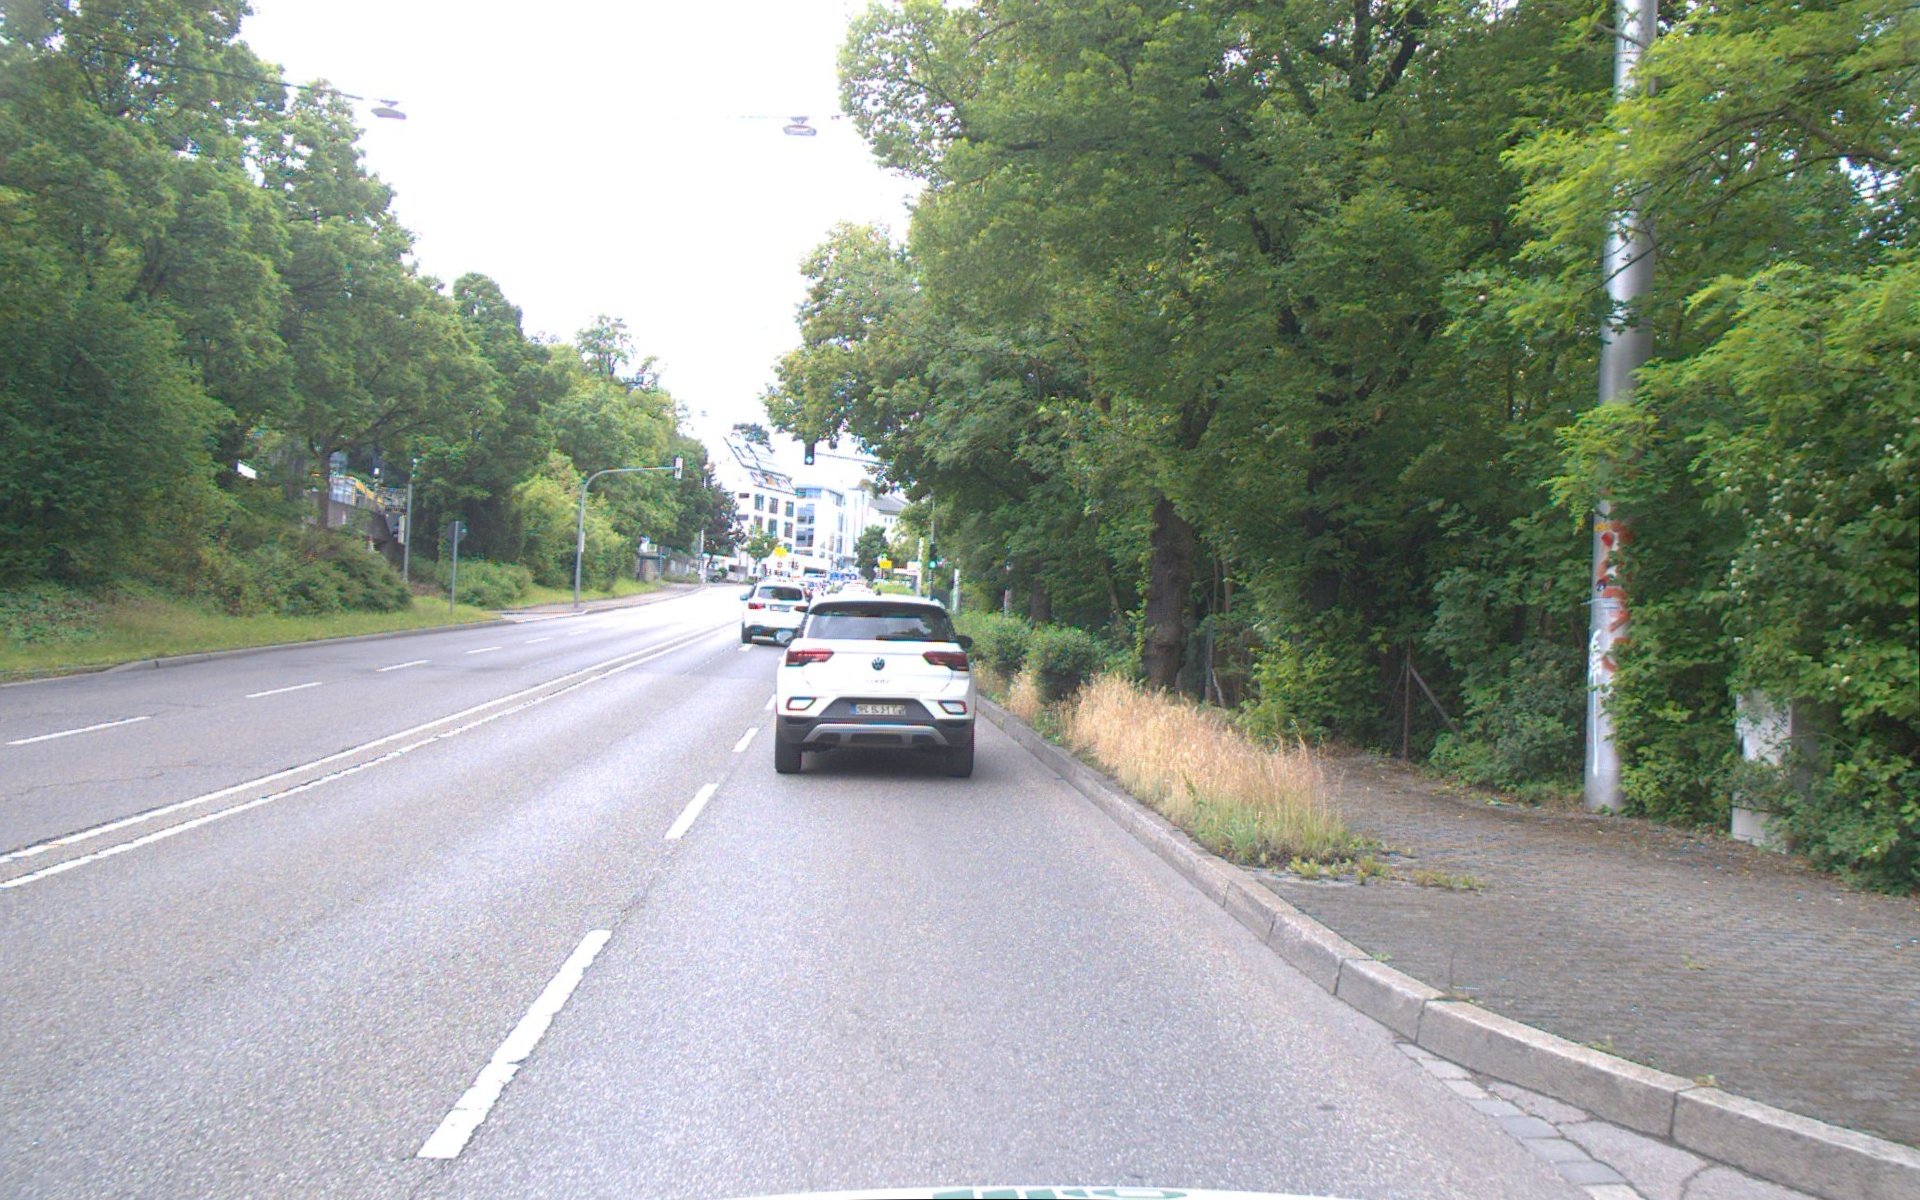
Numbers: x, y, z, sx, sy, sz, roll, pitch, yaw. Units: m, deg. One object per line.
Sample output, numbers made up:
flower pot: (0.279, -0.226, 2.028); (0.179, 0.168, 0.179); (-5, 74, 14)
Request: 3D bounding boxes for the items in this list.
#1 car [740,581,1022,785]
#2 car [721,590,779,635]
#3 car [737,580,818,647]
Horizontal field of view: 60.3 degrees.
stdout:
car: (-0.884, 0.677, 15.513); (1.966, 1.624, 3.987); (-1, 0, -13)
car: (-7.916, 0.438, 62.053); (1.914, 1.491, 3.991); (2, 1, -10)
car: (-4.966, 0.333, 44.562); (1.818, 1.732, 3.989); (1, 0, -11)
